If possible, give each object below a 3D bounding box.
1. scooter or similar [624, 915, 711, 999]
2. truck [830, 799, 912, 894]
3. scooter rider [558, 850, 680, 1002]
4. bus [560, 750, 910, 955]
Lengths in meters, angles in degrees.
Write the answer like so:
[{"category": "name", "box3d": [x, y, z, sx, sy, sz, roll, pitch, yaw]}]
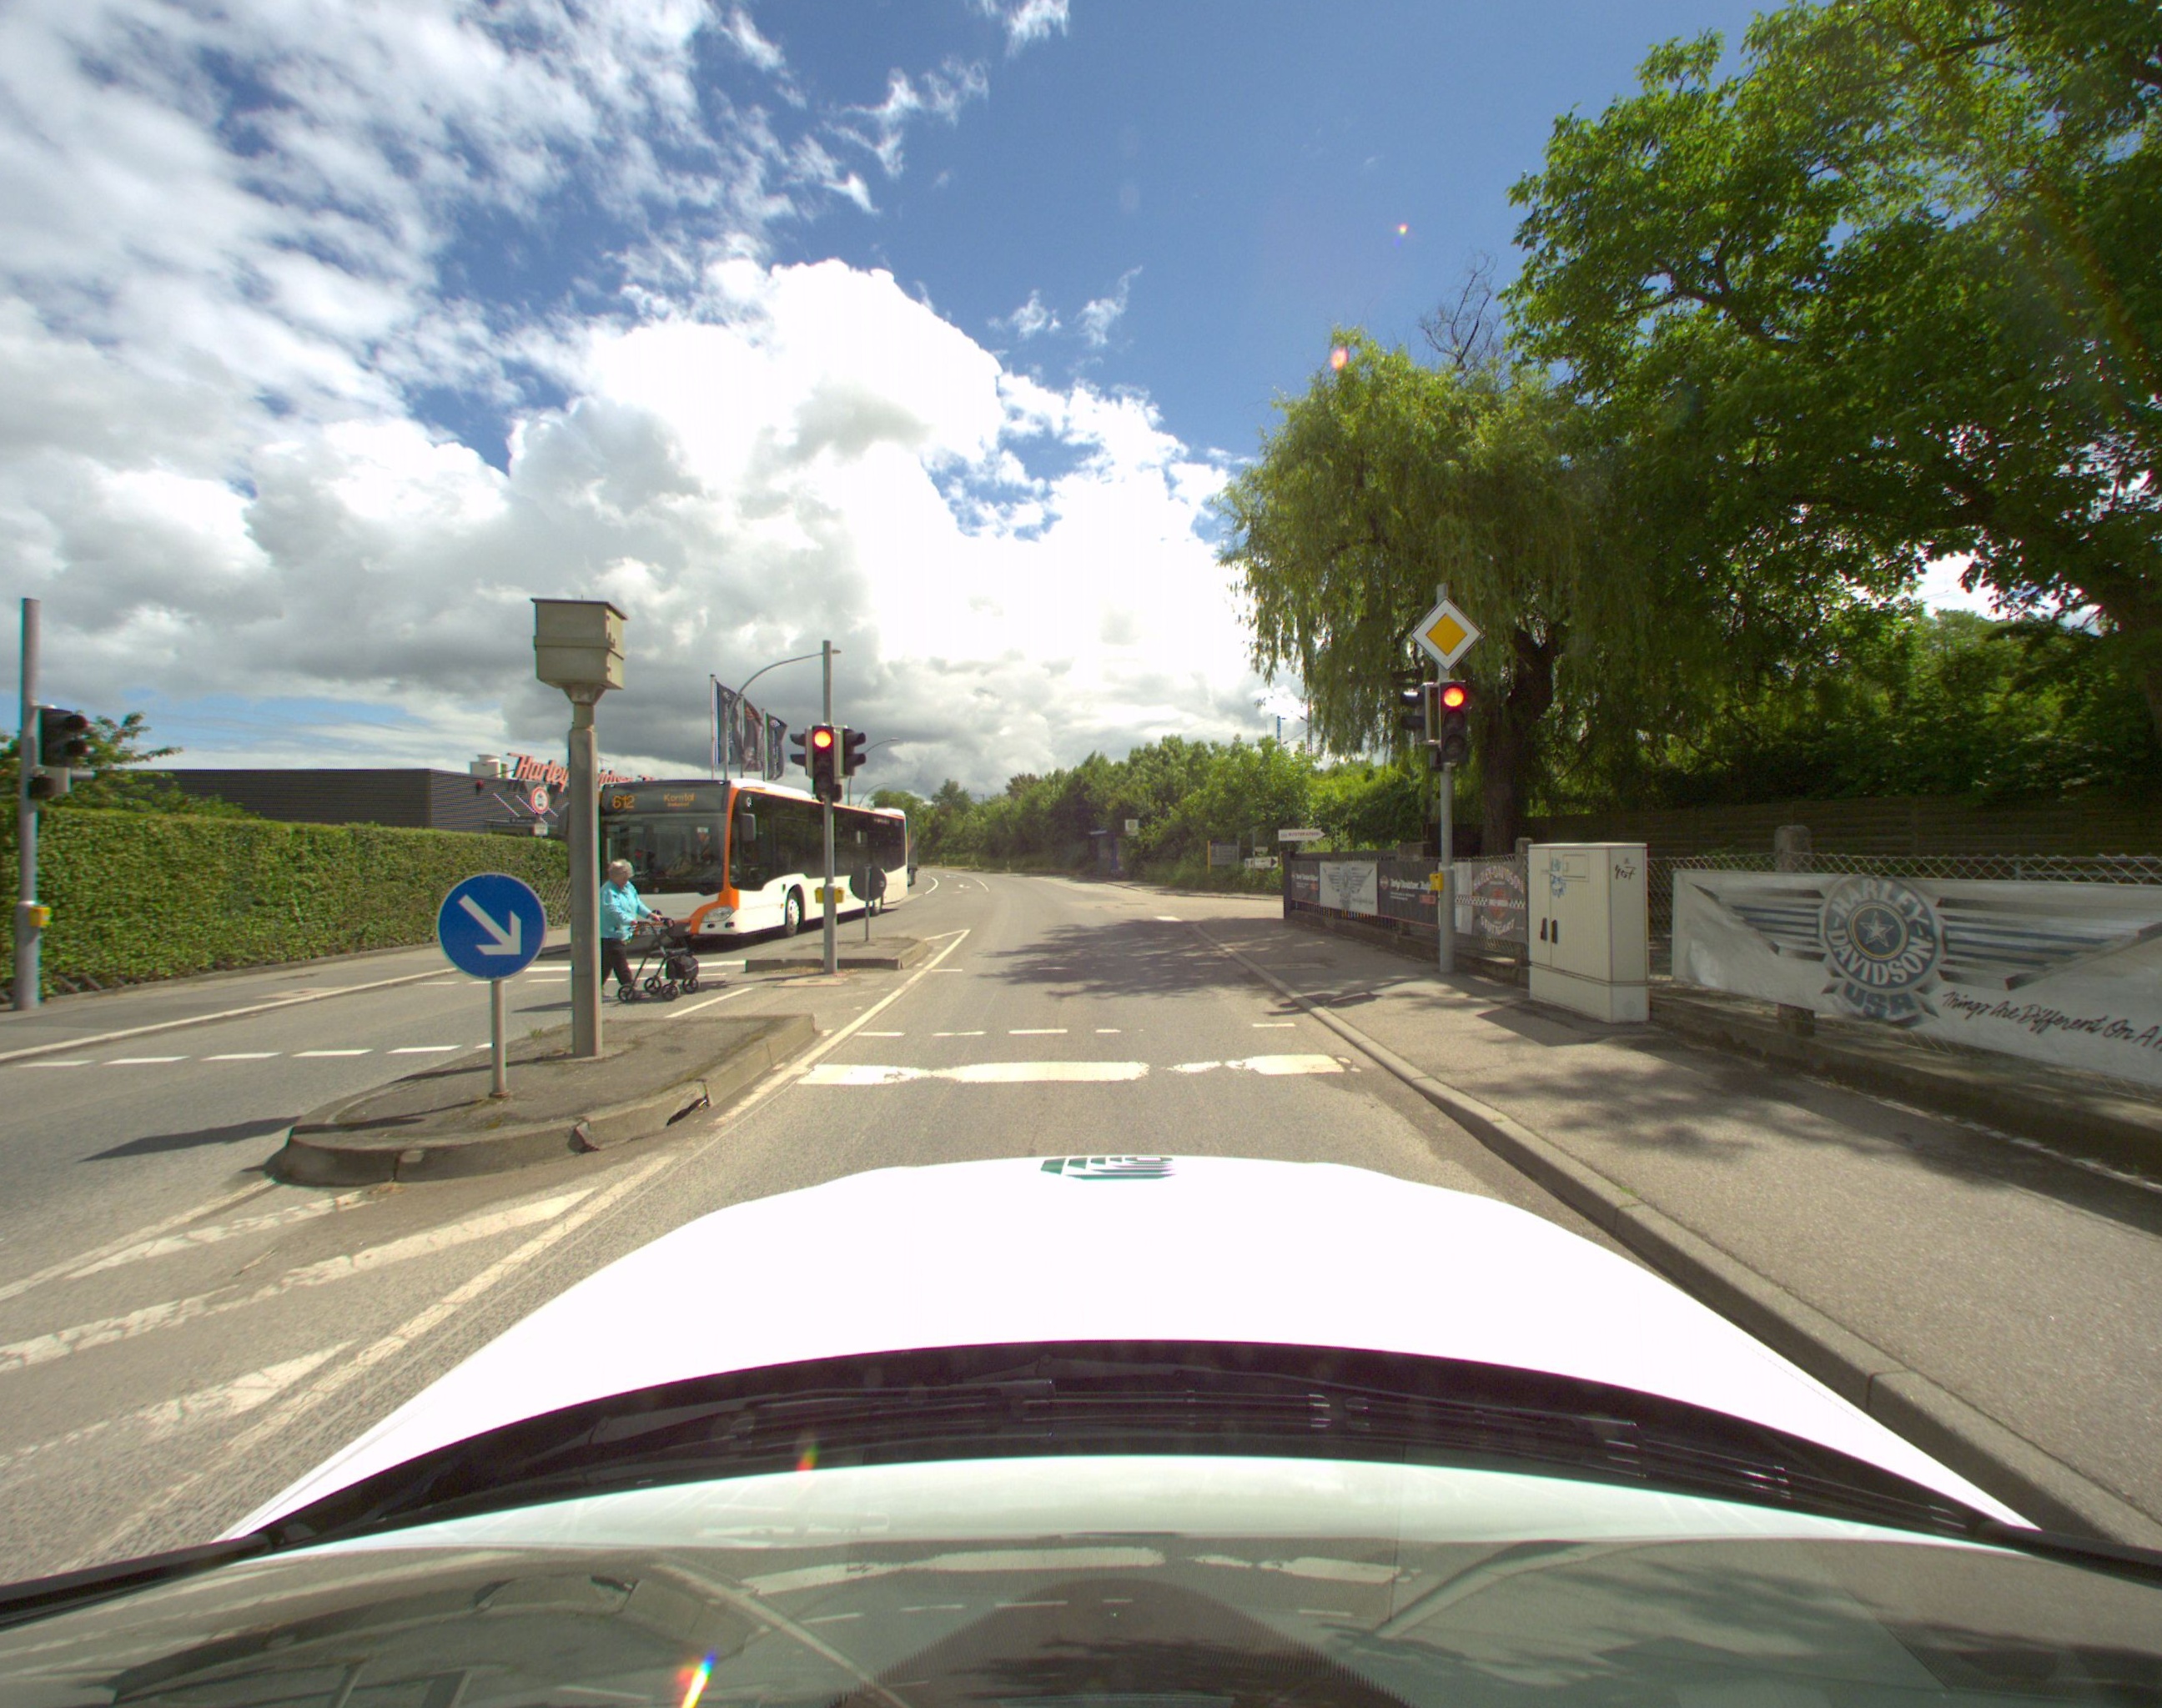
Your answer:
[{"category": "scooter or similar", "box3d": [-4.529, 1.120, 8.960, 0.609, 0.831, 0.659, 0, 0, 0]}, {"category": "truck", "box3d": [-10.224, -0.296, 40.590, 2.425, 4.131, 9.132, 1, -1, -6]}, {"category": "scooter rider", "box3d": [-5.061, 0.753, 8.975, 0.875, 1.589, 0.796, -1, 0, 0]}, {"category": "bus", "box3d": [-6.928, 0.005, 19.378, 2.767, 3.266, 12.127, -2, 0, 2]}]
